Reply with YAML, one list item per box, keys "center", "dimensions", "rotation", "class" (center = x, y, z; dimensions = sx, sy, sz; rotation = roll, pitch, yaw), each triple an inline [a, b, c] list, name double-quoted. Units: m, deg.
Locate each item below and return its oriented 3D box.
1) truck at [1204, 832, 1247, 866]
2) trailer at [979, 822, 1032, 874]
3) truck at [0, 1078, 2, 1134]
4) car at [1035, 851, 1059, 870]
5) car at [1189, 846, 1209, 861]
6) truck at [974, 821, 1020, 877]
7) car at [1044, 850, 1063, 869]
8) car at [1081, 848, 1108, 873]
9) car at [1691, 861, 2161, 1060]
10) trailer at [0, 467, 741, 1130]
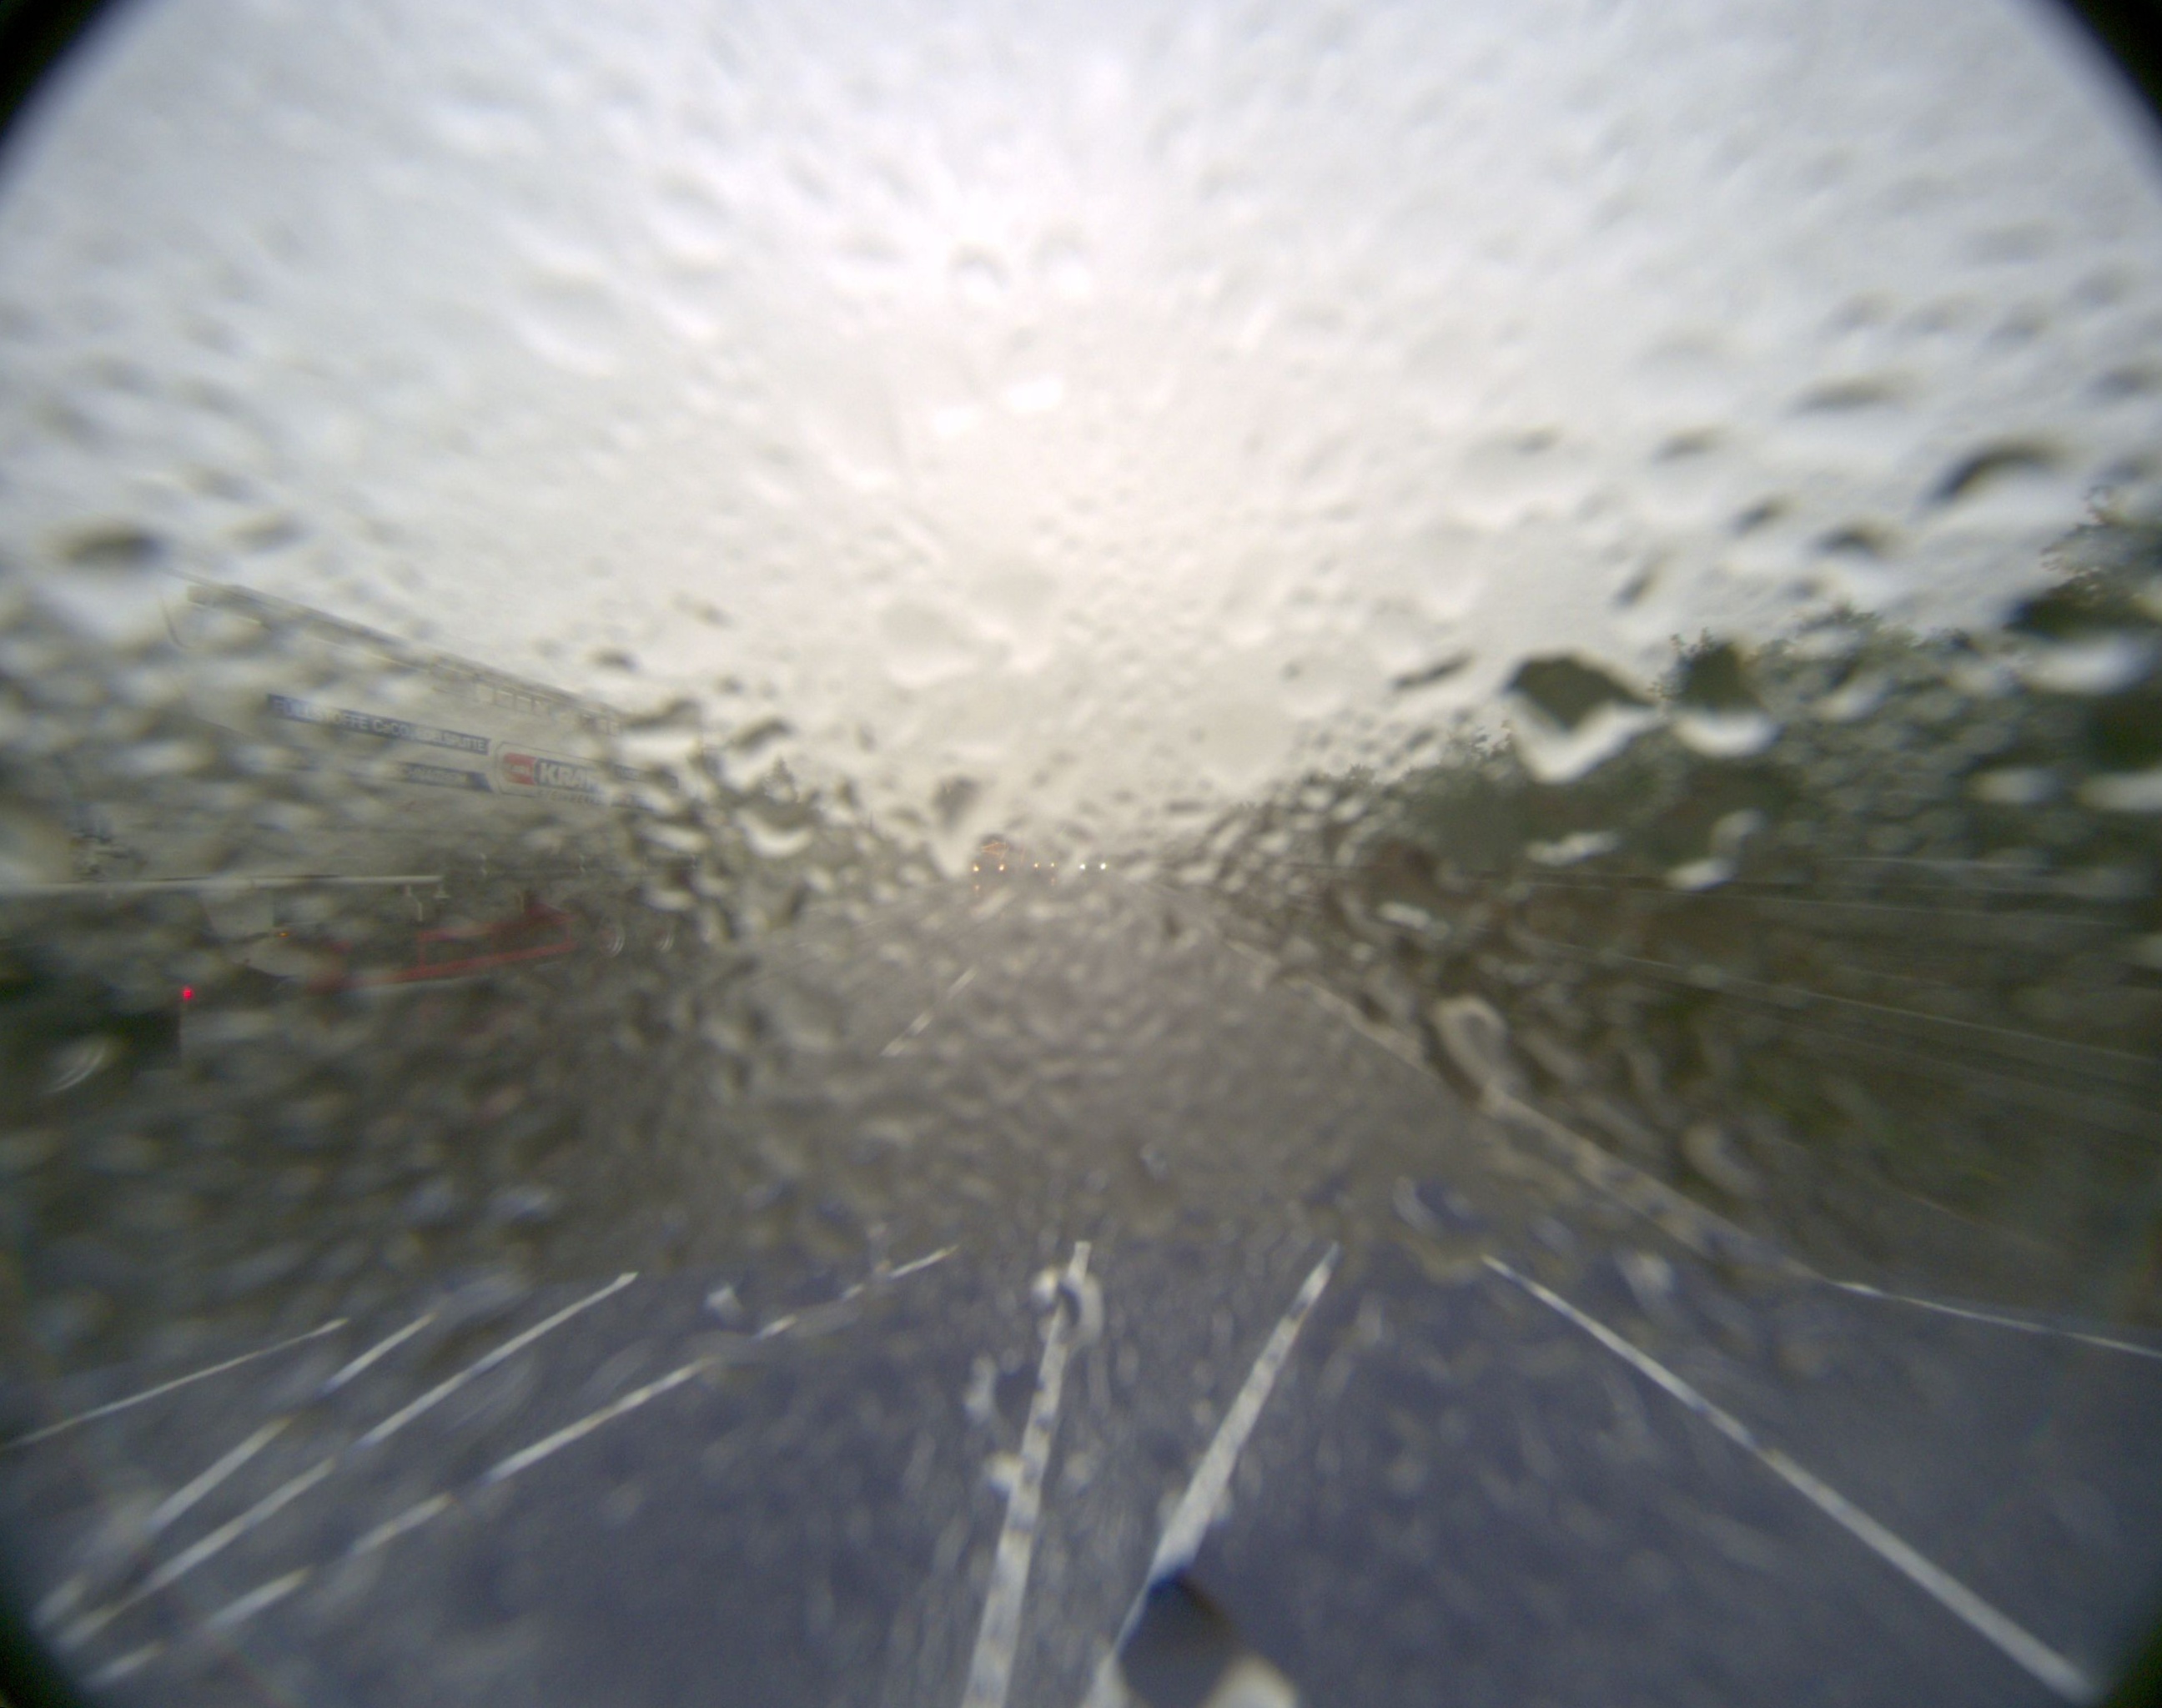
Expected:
- center: [21.127, -0.588, 112.368]
  dimensions: [2.973, 4.647, 17.100]
  rotation: [-2, -1, 0]
  class: "truck"
- center: [-6.128, -0.353, 64.711]
  dimensions: [2.486, 3.743, 16.546]
  rotation: [-2, -1, 1]
  class: "trailer"
- center: [-7.564, -0.344, 1.844]
  dimensions: [2.503, 3.960, 5.076]
  rotation: [-2, 0, 0]
  class: "truck"
- center: [-2.834, 0.574, 63.738]
  dimensions: [1.663, 1.491, 3.837]
  rotation: [-2, 0, 1]
  class: "car"
- center: [16.537, -0.027, 107.000]
  dimensions: [1.998, 1.973, 5.015]
  rotation: [-2, 0, 0]
  class: "car"
- center: [-6.238, -0.341, 57.213]
  dimensions: [2.457, 3.866, 6.200]
  rotation: [-2, 0, 1]
  class: "truck"
- center: [-2.514, 0.507, 69.272]
  dimensions: [1.517, 1.606, 3.186]
  rotation: [-2, 0, 0]
  class: "car"
- center: [0.952, 0.450, 55.170]
  dimensions: [1.845, 1.670, 4.000]
  rotation: [-2, 0, 1]
  class: "car"
- center: [11.287, 1.127, 10.380]
  dimensions: [1.803, 2.001, 5.027]
  rotation: [-2, 0, 0]
  class: "car"
- center: [-7.503, -0.264, 8.206]
  dimensions: [2.503, 3.859, 11.067]
  rotation: [-2, 0, 0]
  class: "trailer"
